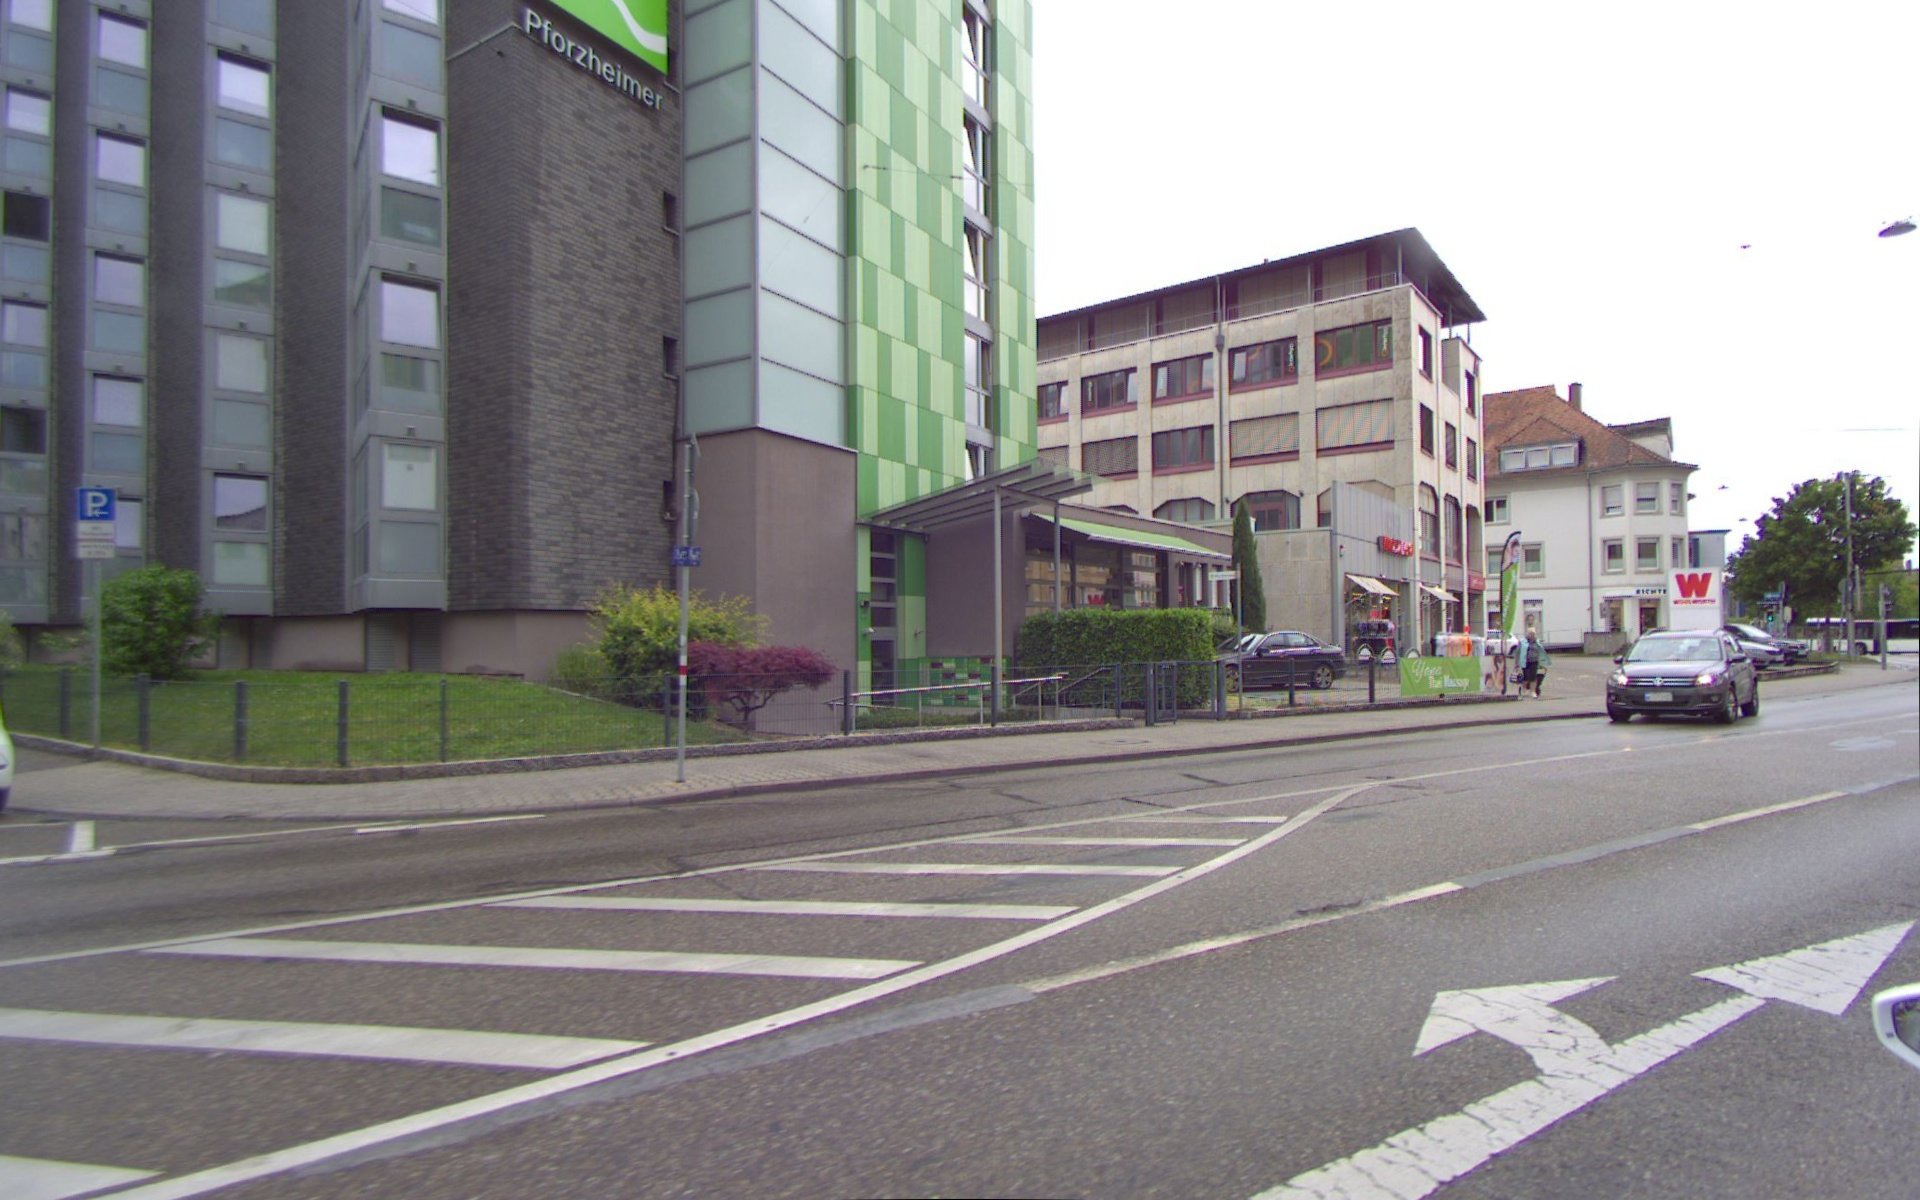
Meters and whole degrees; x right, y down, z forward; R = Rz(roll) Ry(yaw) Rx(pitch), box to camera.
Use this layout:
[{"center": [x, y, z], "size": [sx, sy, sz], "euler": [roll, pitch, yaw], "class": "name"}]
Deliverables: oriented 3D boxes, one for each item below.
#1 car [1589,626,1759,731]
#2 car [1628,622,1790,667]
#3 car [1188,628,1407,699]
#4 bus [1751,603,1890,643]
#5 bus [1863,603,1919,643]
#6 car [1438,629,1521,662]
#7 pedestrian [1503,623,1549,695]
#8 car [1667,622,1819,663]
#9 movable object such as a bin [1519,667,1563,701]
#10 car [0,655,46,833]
[{"center": [13.116, 1.336, 18.362], "size": [1.928, 1.681, 4.032], "euler": [-2, -3, 44], "class": "car"}, {"center": [27.276, 1.608, 36.710], "size": [1.869, 1.546, 4.413], "euler": [1, -2, -37], "class": "car"}, {"center": [7.607, 1.377, 22.642], "size": [4.589, 1.457, 1.988], "euler": [0, -2, -25], "class": "car"}, {"center": [73.868, 2.058, 86.535], "size": [2.873, 3.146, 8.834], "euler": [0, -2, -19], "class": "bus"}, {"center": [75.610, 1.750, 77.729], "size": [2.861, 3.146, 9.142], "euler": [-1, -2, -2], "class": "bus"}, {"center": [26.069, 2.289, 50.407], "size": [3.700, 1.519, 1.577], "euler": [3, -3, -18], "class": "car"}, {"center": [13.729, 1.421, 24.385], "size": [0.733, 1.707, 0.755], "euler": [-1, -2, 13], "class": "pedestrian"}, {"center": [31.227, 1.696, 40.213], "size": [1.927, 1.526, 4.407], "euler": [0, -2, -24], "class": "car"}, {"center": [14.275, 2.055, 24.706], "size": [0.718, 0.799, 0.755], "euler": [-1, -2, 13], "class": "movable object such as a bin"}, {"center": [-10.434, 1.322, 9.276], "size": [3.522, 1.590, 1.739], "euler": [-2, -4, 26], "class": "car"}]
